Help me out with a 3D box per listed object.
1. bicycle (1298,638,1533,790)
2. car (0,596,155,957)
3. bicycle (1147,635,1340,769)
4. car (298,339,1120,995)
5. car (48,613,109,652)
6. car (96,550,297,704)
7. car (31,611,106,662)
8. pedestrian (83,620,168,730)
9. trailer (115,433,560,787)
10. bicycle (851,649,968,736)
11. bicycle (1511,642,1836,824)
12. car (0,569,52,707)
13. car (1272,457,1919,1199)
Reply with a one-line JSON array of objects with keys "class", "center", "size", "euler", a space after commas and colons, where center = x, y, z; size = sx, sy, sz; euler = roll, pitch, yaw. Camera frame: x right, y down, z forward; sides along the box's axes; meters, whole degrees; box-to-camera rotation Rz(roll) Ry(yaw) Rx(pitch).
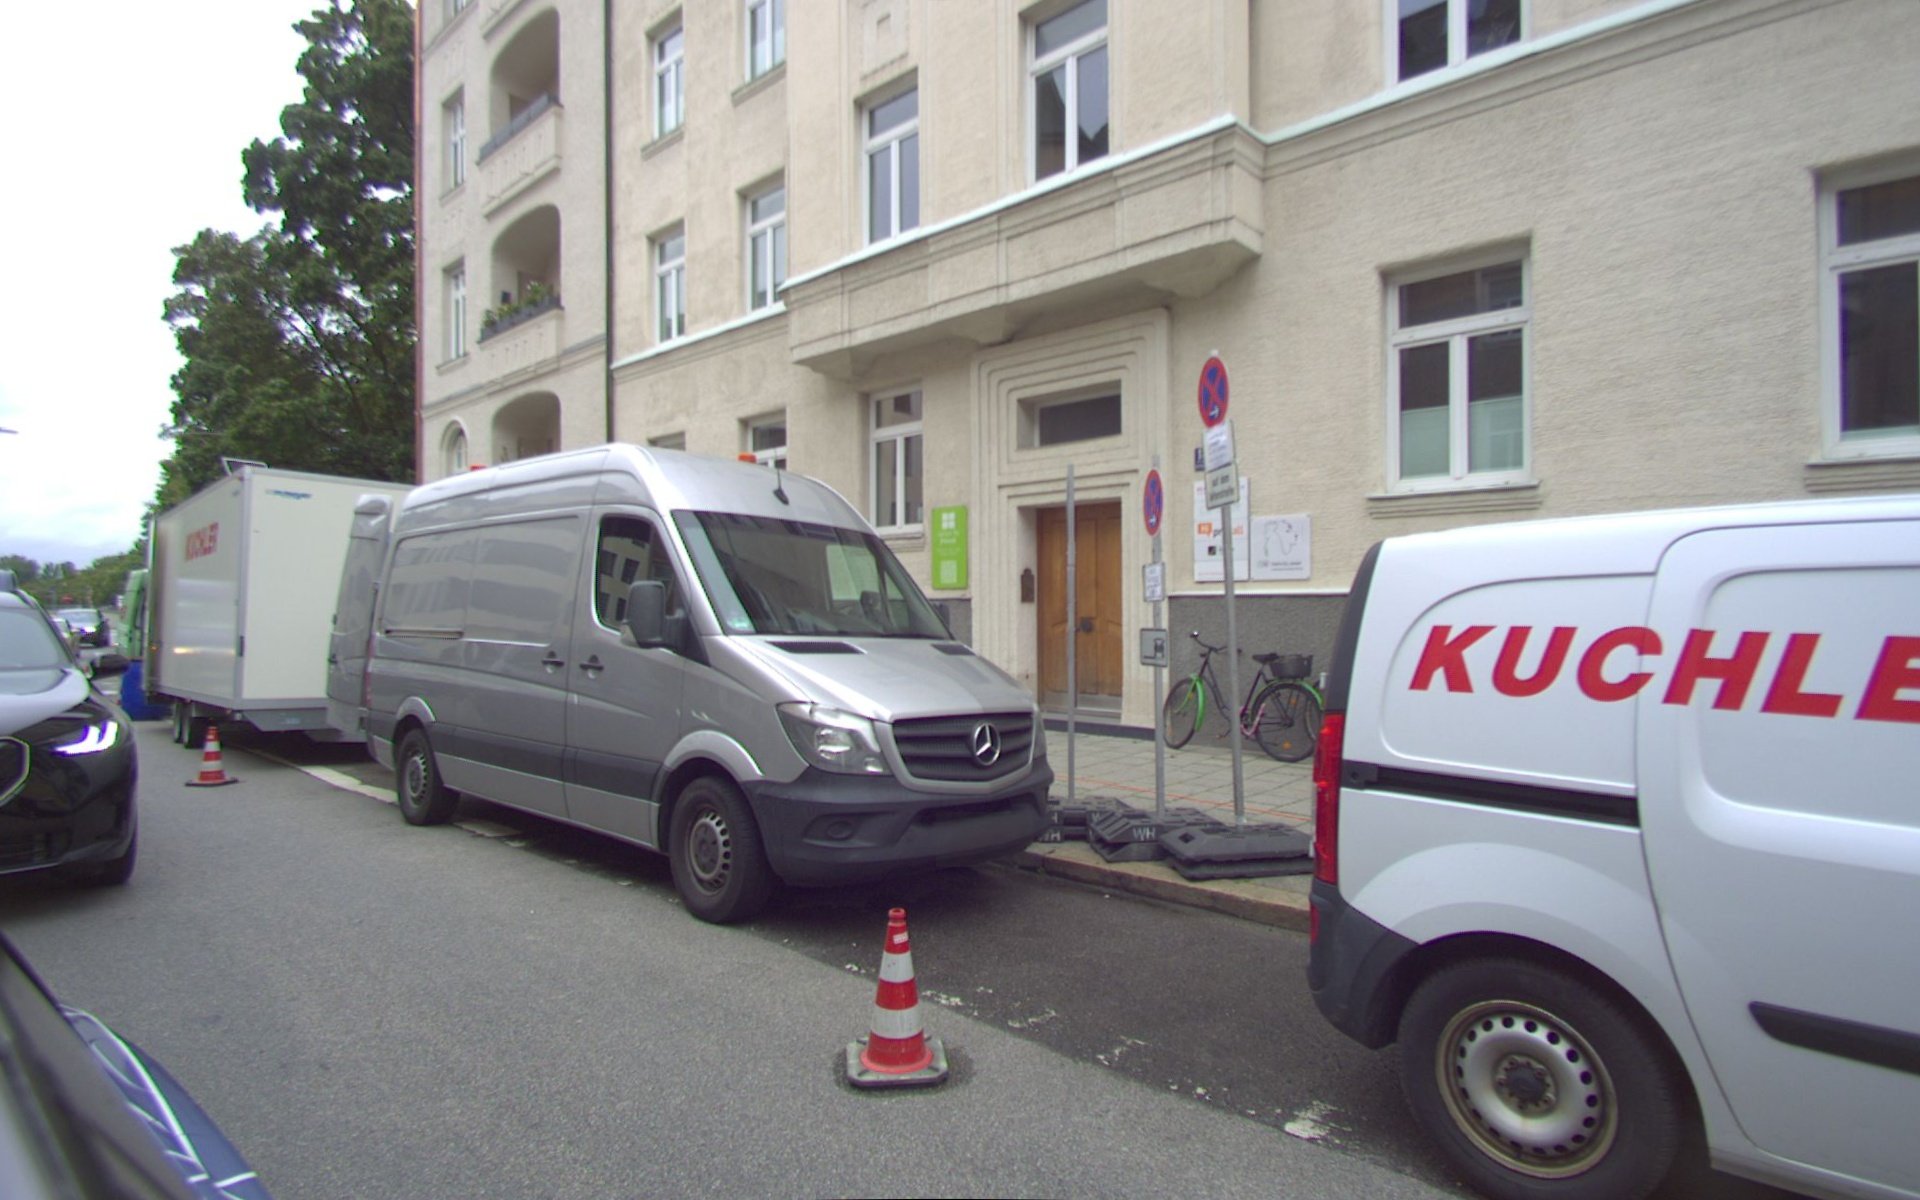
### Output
[{"class": "bicycle", "center": [3.743, 0.893, 8.433], "size": [1.736, 1.112, 0.423], "euler": [-1, -1, 43]}, {"class": "car", "center": [-5.984, 0.773, 5.708], "size": [1.894, 1.577, 4.298], "euler": [2, -1, -43]}, {"class": "bicycle", "center": [2.609, 0.905, 9.470], "size": [1.743, 1.112, 0.423], "euler": [-1, -1, 43]}, {"class": "car", "center": [-2.367, 0.379, 7.114], "size": [6.876, 2.607, 2.033], "euler": [-1, -6, 43]}, {"class": "car", "center": [-37.912, 1.381, 43.539], "size": [1.791, 1.474, 4.169], "euler": [7, -5, -41]}, {"class": "car", "center": [-15.389, 0.519, 20.191], "size": [6.795, 2.592, 2.117], "euler": [-1, -1, 44]}, {"class": "car", "center": [-31.665, 1.279, 35.947], "size": [1.791, 1.601, 4.169], "euler": [7, -5, -42]}, {"class": "pedestrian", "center": [-12.528, 1.105, 15.205], "size": [0.633, 1.592, 0.757], "euler": [0, -2, 26]}, {"class": "trailer", "center": [-7.868, 0.269, 12.217], "size": [2.771, 2.992, 7.603], "euler": [5, -5, -45]}, {"class": "bicycle", "center": [-0.654, 1.118, 12.587], "size": [0.410, 0.921, 1.759], "euler": [-3, 2, -42]}, {"class": "bicycle", "center": [5.032, 0.885, 7.250], "size": [1.864, 1.112, 0.396], "euler": [-1, -1, 42]}, {"class": "car", "center": [-20.095, 0.689, 20.416], "size": [1.974, 2.510, 6.248], "euler": [0, 0, -36]}, {"class": "car", "center": [3.046, 0.638, 2.026], "size": [4.327, 1.792, 1.743], "euler": [-1, -3, 44]}]
